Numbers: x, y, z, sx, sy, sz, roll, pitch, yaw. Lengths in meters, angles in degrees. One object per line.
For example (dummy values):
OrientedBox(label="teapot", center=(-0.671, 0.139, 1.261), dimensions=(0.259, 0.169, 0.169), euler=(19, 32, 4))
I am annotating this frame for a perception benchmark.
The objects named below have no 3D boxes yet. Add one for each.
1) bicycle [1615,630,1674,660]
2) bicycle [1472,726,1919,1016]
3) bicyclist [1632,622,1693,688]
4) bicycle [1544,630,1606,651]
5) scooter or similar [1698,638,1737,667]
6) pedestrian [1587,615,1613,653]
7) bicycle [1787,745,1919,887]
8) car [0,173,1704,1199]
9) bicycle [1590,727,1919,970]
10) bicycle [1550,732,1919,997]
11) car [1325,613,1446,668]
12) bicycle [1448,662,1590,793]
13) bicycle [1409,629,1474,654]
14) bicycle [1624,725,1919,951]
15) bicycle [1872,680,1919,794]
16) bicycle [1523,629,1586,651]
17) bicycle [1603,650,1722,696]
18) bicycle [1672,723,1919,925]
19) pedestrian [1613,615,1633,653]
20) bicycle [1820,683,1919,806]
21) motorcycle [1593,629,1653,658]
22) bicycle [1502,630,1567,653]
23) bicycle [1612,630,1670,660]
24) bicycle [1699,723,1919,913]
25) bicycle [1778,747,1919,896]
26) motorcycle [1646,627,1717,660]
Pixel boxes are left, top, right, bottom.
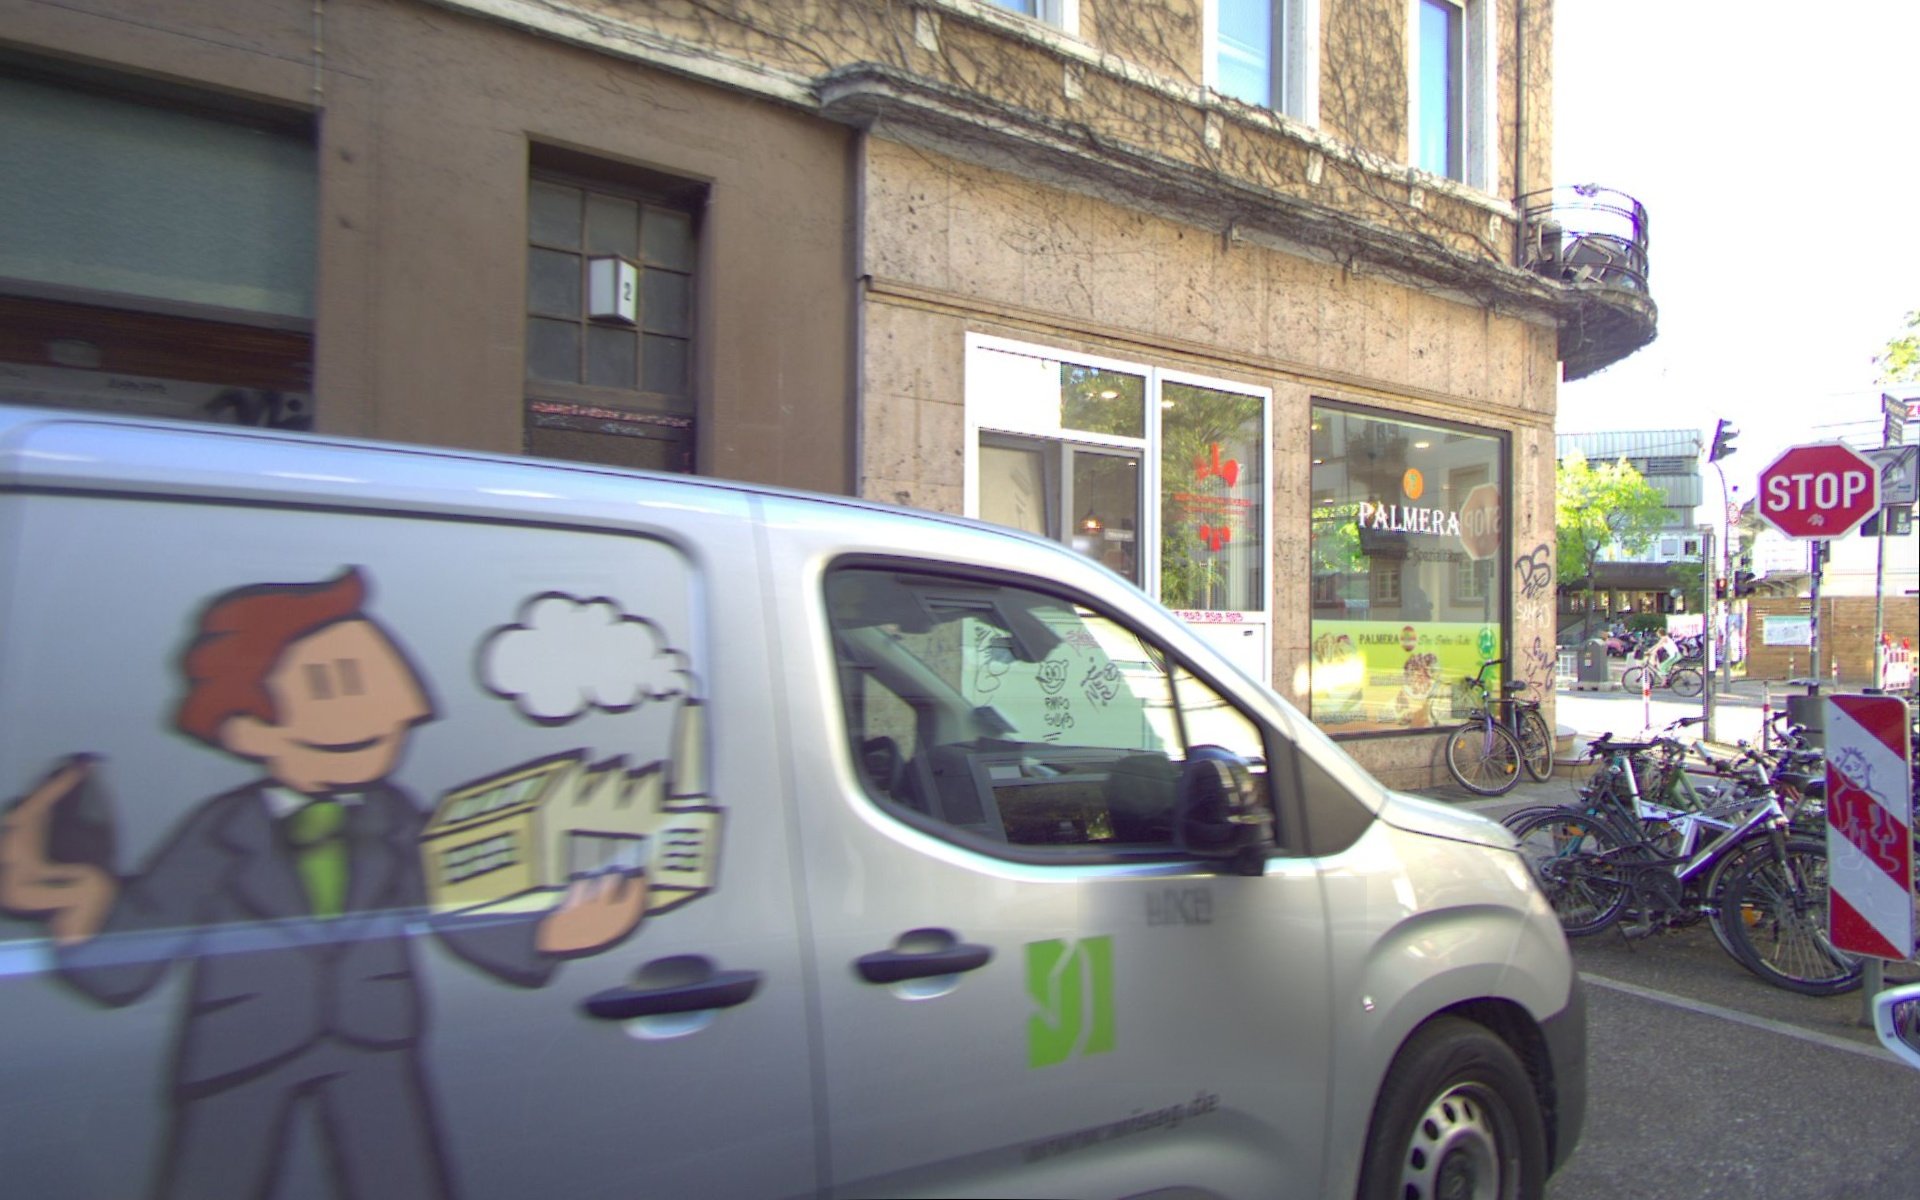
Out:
OrientedBox(label="bicycle", center=(29.313, 1.923, 43.016), dimensions=(2.009, 1.274, 0.543), euler=(-1, -1, 16))
OrientedBox(label="bicycle", center=(3.490, 1.208, 4.951), dimensions=(0.458, 1.002, 1.756), euler=(1, -2, -30))
OrientedBox(label="bicyclist", center=(18.359, 1.423, 26.256), dimensions=(0.887, 1.661, 1.089), euler=(3, -2, -36))
OrientedBox(label="bicycle", center=(35.554, 2.308, 58.128), dimensions=(0.811, 1.162, 3.067), euler=(0, -1, -27))
OrientedBox(label="scooter or similar", center=(28.152, 1.943, 37.340), dimensions=(1.464, 1.033, 0.384), euler=(0, -1, -19))
OrientedBox(label="pedestrian", center=(34.230, 1.806, 53.731), dimensions=(0.926, 2.040, 0.798), euler=(0, -1, -26))
OrientedBox(label="bicycle", center=(6.230, 1.397, 6.427), dimensions=(0.359, 0.829, 1.376), euler=(1, -4, -39))
OrientedBox(label="car", center=(-0.525, 0.627, 2.120), dimensions=(4.466, 1.934, 1.672), euler=(1, -5, -30))
OrientedBox(label="bicycle", center=(4.312, 1.234, 5.227), dimensions=(0.417, 0.974, 1.756), euler=(1, -2, -31))
OrientedBox(label="bicycle", center=(3.953, 1.239, 5.017), dimensions=(0.400, 0.974, 1.756), euler=(1, -2, -31))
OrientedBox(label="car", center=(17.025, 1.555, 40.097), dimensions=(4.891, 1.918, 1.993), euler=(-2, 0, -32))
OrientedBox(label="bicycle", center=(5.127, 1.129, 9.192), dimensions=(1.573, 1.106, 0.396), euler=(2, -2, -31))
OrientedBox(label="bicycle", center=(24.032, 2.065, 50.222), dimensions=(0.811, 1.162, 3.067), euler=(0, -1, -27))
OrientedBox(label="bicycle", center=(4.661, 1.249, 5.444), dimensions=(0.438, 0.974, 1.756), euler=(1, -2, -31))
OrientedBox(label="bicycle", center=(9.817, 1.400, 10.014), dimensions=(0.449, 1.060, 1.687), euler=(0, 1, 19))
OrientedBox(label="bicycle", center=(33.285, 2.221, 56.280), dimensions=(0.811, 1.162, 3.067), euler=(0, -1, -27))
OrientedBox(label="bicycle", center=(18.340, 1.884, 26.265), dimensions=(0.887, 1.107, 2.406), euler=(3, -2, -36))
OrientedBox(label="bicycle", center=(5.185, 1.269, 5.746), dimensions=(0.478, 0.974, 1.749), euler=(1, -2, -41))
OrientedBox(label="pedestrian", center=(35.409, 1.814, 53.678), dimensions=(0.789, 2.040, 1.029), euler=(-1, -1, 29))
OrientedBox(label="bicycle", center=(9.383, 1.421, 10.175), dimensions=(0.442, 1.059, 1.664), euler=(0, -1, 19))
OrientedBox(label="motorcycle", center=(29.560, 1.944, 44.824), dimensions=(2.167, 1.274, 0.543), euler=(-1, -1, 16))
OrientedBox(label="bicycle", center=(30.723, 2.219, 53.810), dimensions=(0.811, 1.162, 3.067), euler=(0, -1, -27))
OrientedBox(label="bicycle", center=(29.534, 1.939, 43.570), dimensions=(2.009, 1.274, 0.543), euler=(-1, -1, 16))
OrientedBox(label="bicycle", center=(5.532, 1.305, 6.001), dimensions=(0.424, 0.974, 1.752), euler=(1, -2, -37))
OrientedBox(label="bicycle", center=(5.929, 1.376, 6.189), dimensions=(0.378, 0.829, 1.298), euler=(1, -4, -39))
OrientedBox(label="motorcycle", center=(27.927, 1.681, 38.906), dimensions=(2.167, 1.274, 0.543), euler=(-1, -1, 16))
